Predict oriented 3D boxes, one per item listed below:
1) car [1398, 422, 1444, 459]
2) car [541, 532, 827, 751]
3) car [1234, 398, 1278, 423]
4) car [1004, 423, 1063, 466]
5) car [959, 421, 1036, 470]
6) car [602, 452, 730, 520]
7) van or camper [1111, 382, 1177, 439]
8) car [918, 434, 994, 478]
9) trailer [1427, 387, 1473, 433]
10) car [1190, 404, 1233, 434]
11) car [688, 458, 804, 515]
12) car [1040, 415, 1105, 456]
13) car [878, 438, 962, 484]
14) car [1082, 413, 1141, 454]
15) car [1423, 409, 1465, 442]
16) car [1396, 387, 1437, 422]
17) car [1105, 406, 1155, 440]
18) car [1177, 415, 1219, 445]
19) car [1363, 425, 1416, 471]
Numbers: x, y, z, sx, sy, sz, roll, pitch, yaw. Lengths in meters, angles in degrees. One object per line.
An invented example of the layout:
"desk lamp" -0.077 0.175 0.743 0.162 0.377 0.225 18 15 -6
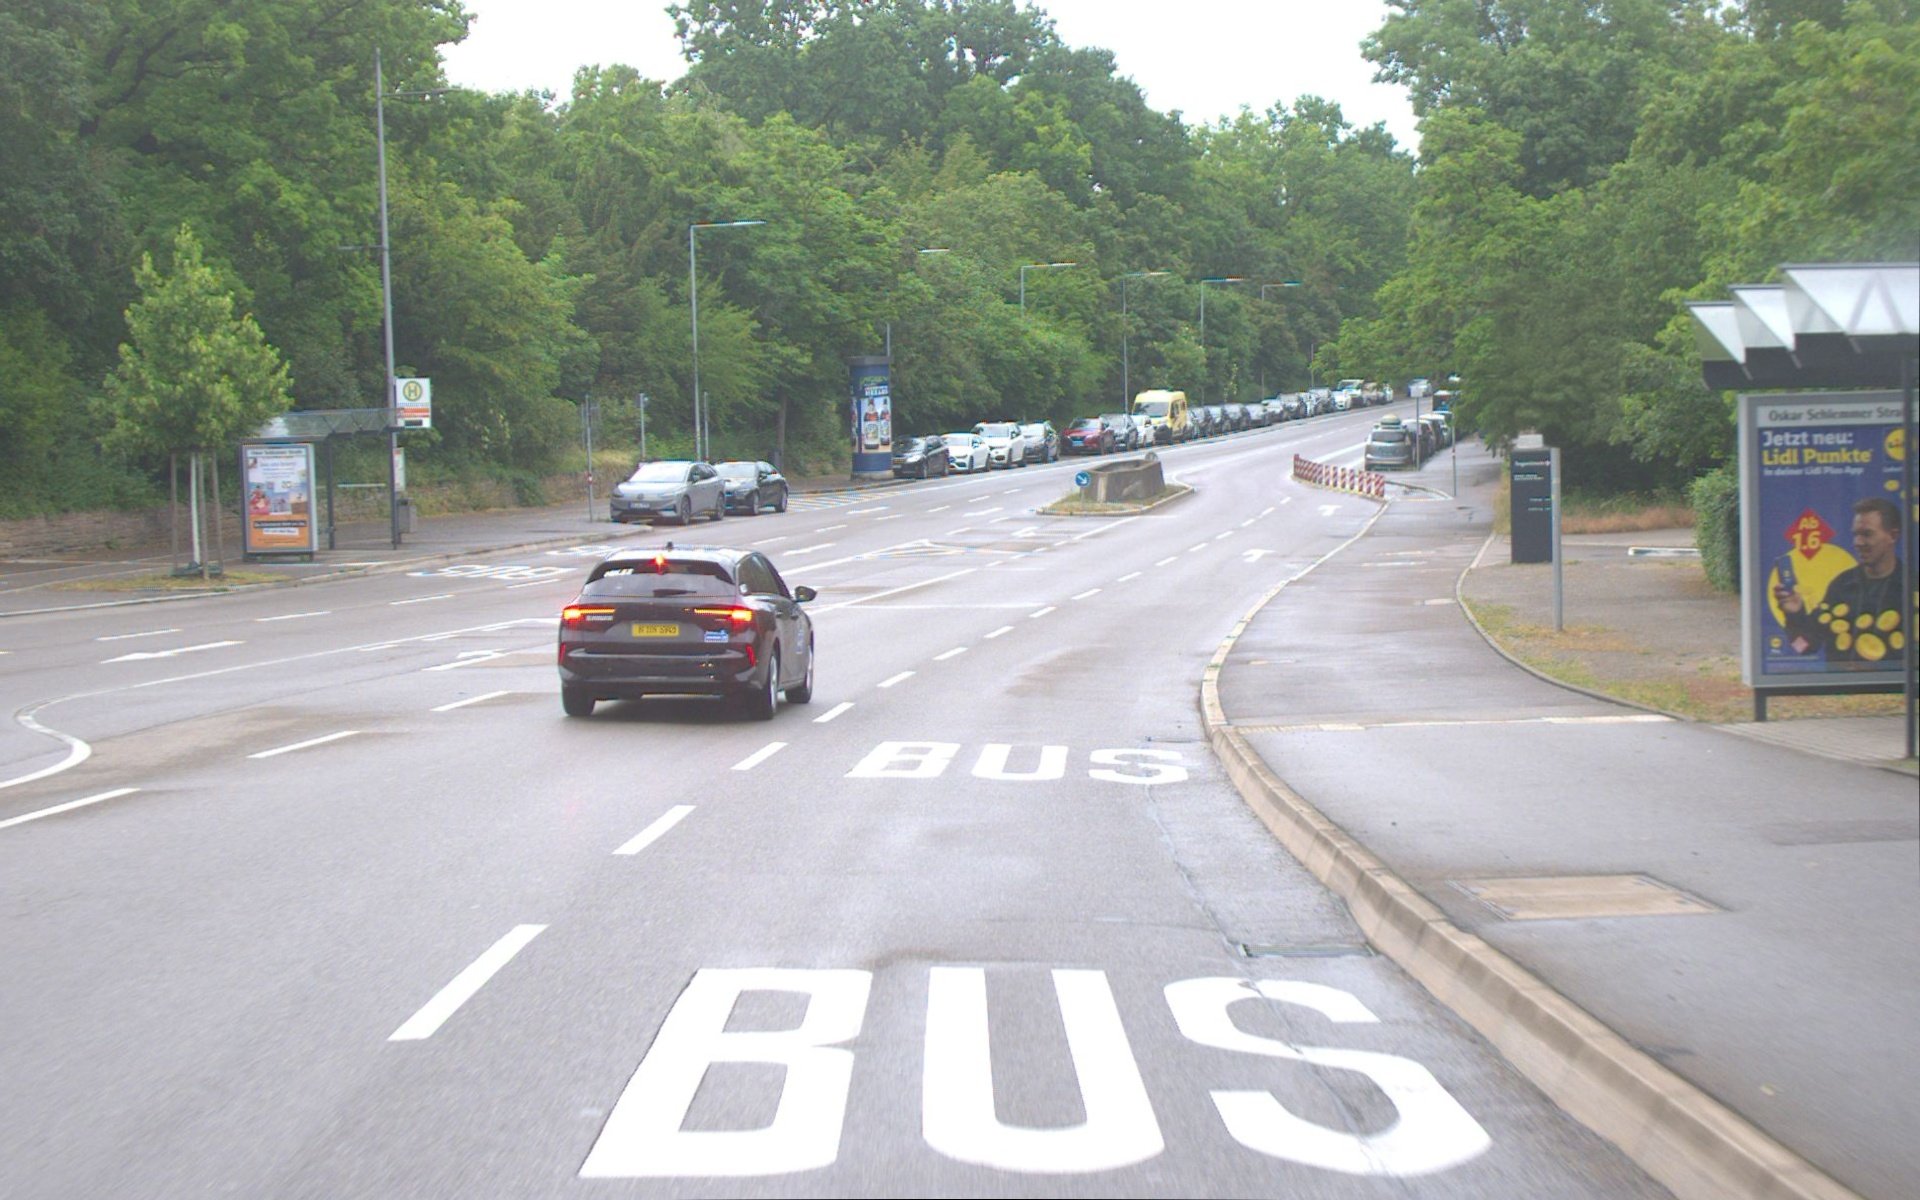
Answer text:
"car" 20.642 -7.150 153.858 1.660 1.460 3.899 3 5 12
"car" -2.292 0.293 29.486 1.881 1.460 4.001 1 5 3
"car" 16.552 -10.582 192.255 1.871 1.299 4.469 0 4 13
"car" 2.999 -6.366 140.325 1.732 1.643 4.570 1 4 10
"car" 1.491 -5.992 132.796 1.995 1.759 4.958 0 4 13
"car" -7.400 -2.901 87.045 1.842 1.583 4.927 1 3 12
"van or camper" 8.986 -9.250 167.324 2.145 2.618 5.680 0 4 14
"car" -0.125 -5.292 126.011 1.719 1.455 4.706 0 4 13
"trailer" 24.885 -9.646 174.444 1.907 2.239 4.766 1 4 13
"car" 13.476 -9.690 183.854 1.604 1.504 3.975 0 4 14
"car" -5.793 -3.104 93.522 1.907 1.409 4.781 1 3 12
"car" 4.920 -7.183 149.949 1.920 1.611 4.488 0 4 14
"car" -1.395 -4.909 121.006 1.750 1.440 4.584 1 4 15
"car" 6.929 -7.603 156.688 1.994 1.694 4.614 0 4 11
"car" 23.740 -8.544 168.579 1.823 1.480 4.198 -1 1 10
"car" 19.507 -8.349 146.713 1.560 1.455 3.675 1 4 10
"car" 7.989 -8.311 161.198 1.618 1.443 3.655 -1 4 14
"car" 12.381 -8.845 178.666 1.604 1.504 3.137 0 4 14
"car" 15.824 -5.607 126.639 1.822 1.609 4.251 1 4 9
